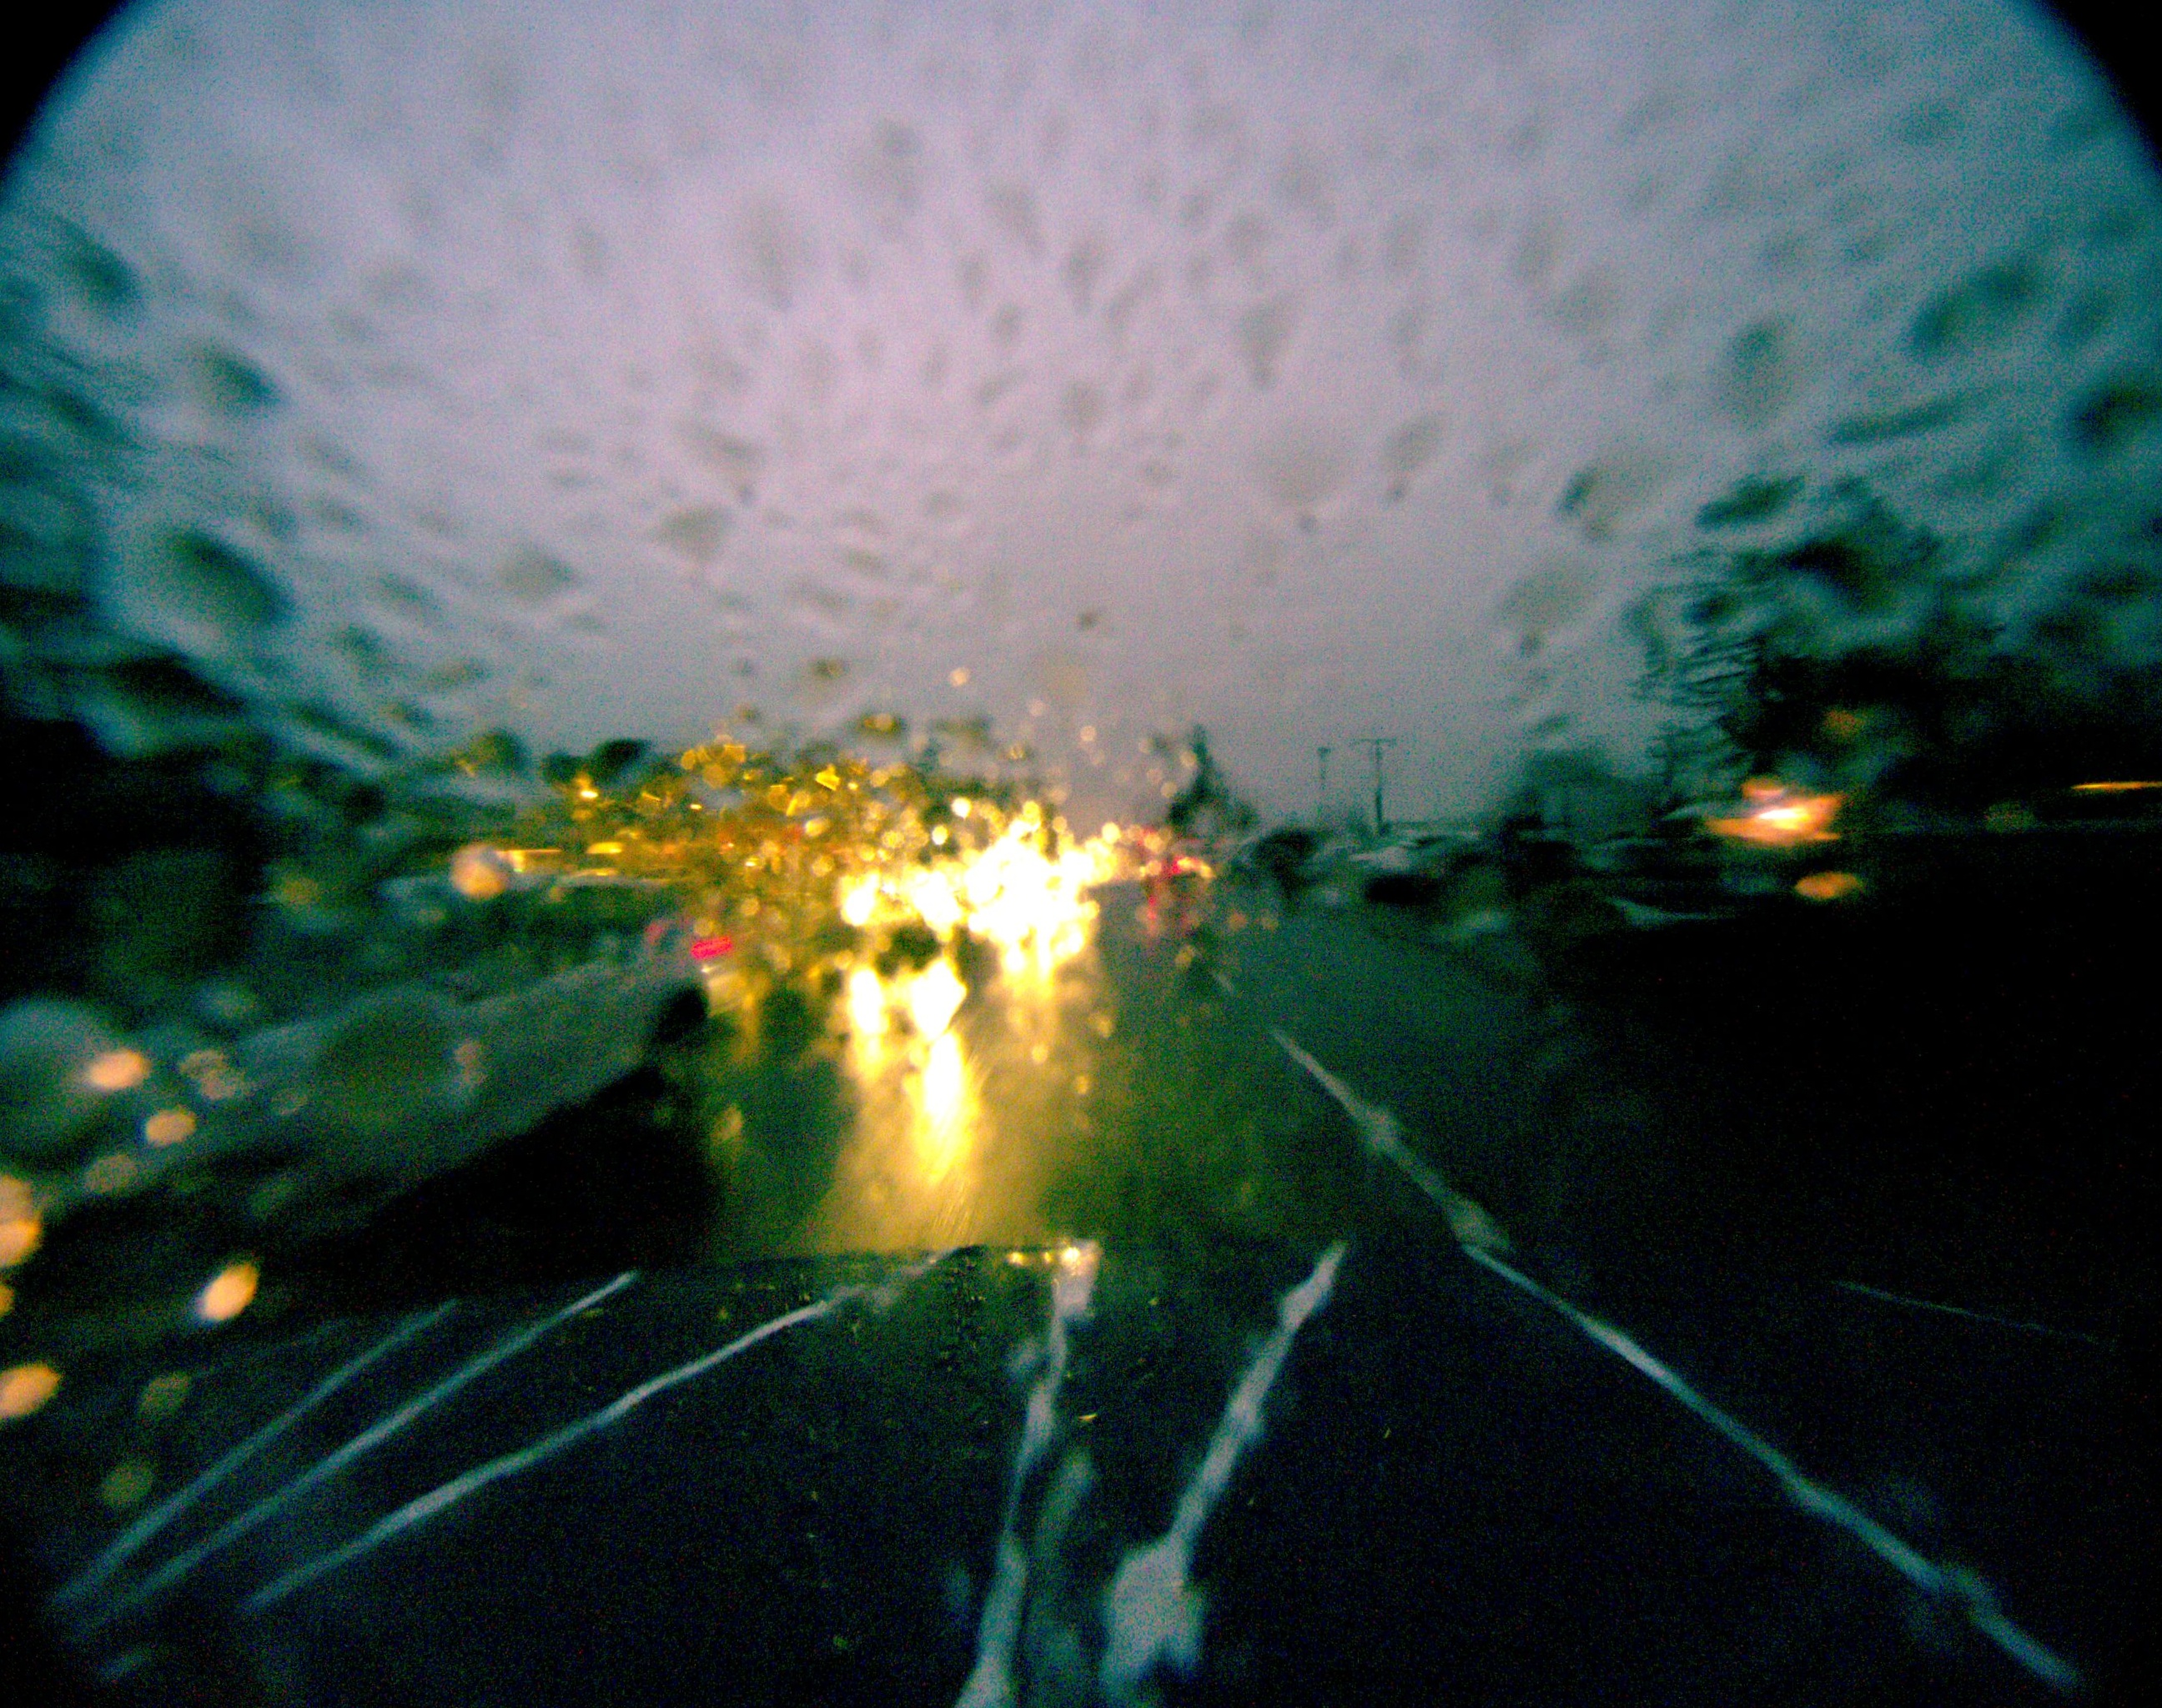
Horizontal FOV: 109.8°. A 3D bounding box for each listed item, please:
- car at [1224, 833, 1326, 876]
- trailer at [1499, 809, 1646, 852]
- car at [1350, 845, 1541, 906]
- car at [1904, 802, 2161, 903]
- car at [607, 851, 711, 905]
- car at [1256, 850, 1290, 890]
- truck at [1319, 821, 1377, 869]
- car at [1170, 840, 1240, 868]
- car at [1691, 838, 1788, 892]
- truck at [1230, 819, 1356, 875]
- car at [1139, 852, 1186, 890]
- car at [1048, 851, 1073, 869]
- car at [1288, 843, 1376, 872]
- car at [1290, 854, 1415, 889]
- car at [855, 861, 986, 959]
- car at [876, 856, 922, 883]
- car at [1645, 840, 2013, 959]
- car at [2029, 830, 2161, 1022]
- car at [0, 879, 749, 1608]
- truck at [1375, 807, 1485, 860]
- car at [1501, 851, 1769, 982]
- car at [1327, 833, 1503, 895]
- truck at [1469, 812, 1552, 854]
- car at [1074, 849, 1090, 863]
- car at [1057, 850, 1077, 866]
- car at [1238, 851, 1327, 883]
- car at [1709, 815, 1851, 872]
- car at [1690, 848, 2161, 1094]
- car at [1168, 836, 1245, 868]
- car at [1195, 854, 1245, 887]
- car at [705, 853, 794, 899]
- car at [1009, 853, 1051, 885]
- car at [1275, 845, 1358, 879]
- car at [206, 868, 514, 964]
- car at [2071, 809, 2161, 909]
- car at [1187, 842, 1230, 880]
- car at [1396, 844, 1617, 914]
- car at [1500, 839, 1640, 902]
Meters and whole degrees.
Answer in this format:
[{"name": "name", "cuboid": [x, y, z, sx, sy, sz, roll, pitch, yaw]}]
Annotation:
[{"name": "car", "cuboid": [12.574, 0.053, 49.503, 6.047, 2.623, 2.195, -1, 0, -1]}, {"name": "trailer", "cuboid": [35.360, -1.682, 54.644, 10.510, 2.658, 2.217, -3, 1, -13]}, {"name": "car", "cuboid": [10.052, 0.577, 21.254, 4.345, 1.489, 1.995, -2, 0, 3]}, {"name": "car", "cuboid": [20.551, -0.051, 16.121, 3.997, 1.911, 1.958, -2, 1, 1]}, {"name": "car", "cuboid": [-17.290, 0.936, 31.384, 1.998, 2.002, 4.000, -2, 1, 0]}, {"name": "car", "cuboid": [8.276, 0.664, 32.897, 1.174, 1.635, 2.872, -1, 0, 9]}, {"name": "truck", "cuboid": [20.327, -0.669, 58.173, 2.036, 3.434, 5.850, 1, 0, -3]}, {"name": "car", "cuboid": [9.662, 0.014, 59.556, 5.158, 2.138, 2.058, 0, 0, 1]}, {"name": "car", "cuboid": [18.815, 0.279, 21.852, 1.670, 1.376, 3.630, -2, 1, 34]}, {"name": "truck", "cuboid": [12.652, -0.400, 45.728, 6.876, 3.124, 2.334, -2, 0, -1]}, {"name": "car", "cuboid": [3.427, 0.668, 32.599, 1.607, 1.525, 3.999, 0, 1, 0]}, {"name": "car", "cuboid": [-1.822, 0.530, 66.559, 2.016, 1.484, 3.998, -2, 0, -4]}, {"name": "car", "cuboid": [13.433, 0.185, 40.788, 4.060, 1.369, 1.814, -2, 1, -3]}, {"name": "car", "cuboid": [11.692, 0.738, 32.873, 4.768, 1.429, 1.782, 0, 0, -1]}, {"name": "car", "cuboid": [-2.965, 0.971, 14.874, 1.569, 1.520, 4.006, -2, 1, 1]}, {"name": "car", "cuboid": [-10.263, 0.848, 43.171, 1.576, 1.388, 4.168, -1, 0, 0]}, {"name": "car", "cuboid": [10.981, 0.625, 11.363, 3.782, 1.451, 1.776, -3, 1, -2]}, {"name": "car", "cuboid": [11.295, 0.570, 6.406, 4.056, 1.640, 1.942, -2, 1, 3]}, {"name": "car", "cuboid": [-3.381, 1.001, 3.379, 1.712, 1.566, 4.464, -2, 0, 1]}, {"name": "truck", "cuboid": [31.452, -1.858, 68.517, 8.714, 4.237, 3.004, -3, 1, -10]}, {"name": "car", "cuboid": [7.386, 0.733, 10.495, 1.522, 1.534, 3.015, 0, 0, 1]}, {"name": "car", "cuboid": [10.288, 0.289, 23.640, 4.547, 1.667, 2.010, -2, 1, -3]}, {"name": "truck", "cuboid": [30.161, -1.450, 53.401, 4.726, 2.681, 2.231, -3, 1, -13]}, {"name": "car", "cuboid": [0.076, 0.281, 95.032, 1.890, 1.618, 3.999, -2, 0, -1]}, {"name": "car", "cuboid": [-1.439, 0.408, 80.160, 1.889, 1.618, 4.000, -3, 0, 1]}, {"name": "car", "cuboid": [10.025, 0.632, 37.986, 3.919, 1.469, 1.810, 1, 1, 0]}, {"name": "car", "cuboid": [30.121, -0.454, 32.812, 4.244, 2.268, 2.265, -2, 0, -7]}, {"name": "car", "cuboid": [7.355, 0.683, 6.322, 1.686, 1.412, 3.741, -2, 1, 3]}, {"name": "car", "cuboid": [10.550, -0.189, 64.271, 6.171, 2.617, 2.176, 0, 0, 1]}, {"name": "car", "cuboid": [6.627, 0.746, 36.654, 1.574, 1.314, 4.254, 0, 2, -1]}, {"name": "car", "cuboid": [-14.449, 0.906, 33.399, 1.998, 1.848, 4.298, -1, 1, 0]}, {"name": "car", "cuboid": [-2.656, 0.735, 39.849, 2.016, 1.484, 3.998, -2, 0, -4]}, {"name": "car", "cuboid": [13.395, 0.447, 43.432, 4.060, 1.723, 2.024, -2, 1, -3]}, {"name": "car", "cuboid": [-15.041, 1.178, 16.205, 4.491, 1.599, 2.014, -2, 1, -43]}, {"name": "car", "cuboid": [21.417, 0.006, 13.896, 3.997, 1.797, 1.958, -2, 1, 1]}, {"name": "car", "cuboid": [7.056, 0.358, 42.503, 1.839, 2.002, 4.484, -1, 1, 3]}, {"name": "car", "cuboid": [10.304, 0.584, 18.649, 4.346, 1.489, 1.825, -2, 0, 1]}, {"name": "car", "cuboid": [14.306, 0.428, 22.501, 1.673, 1.667, 3.706, -2, 0, -1]}]
